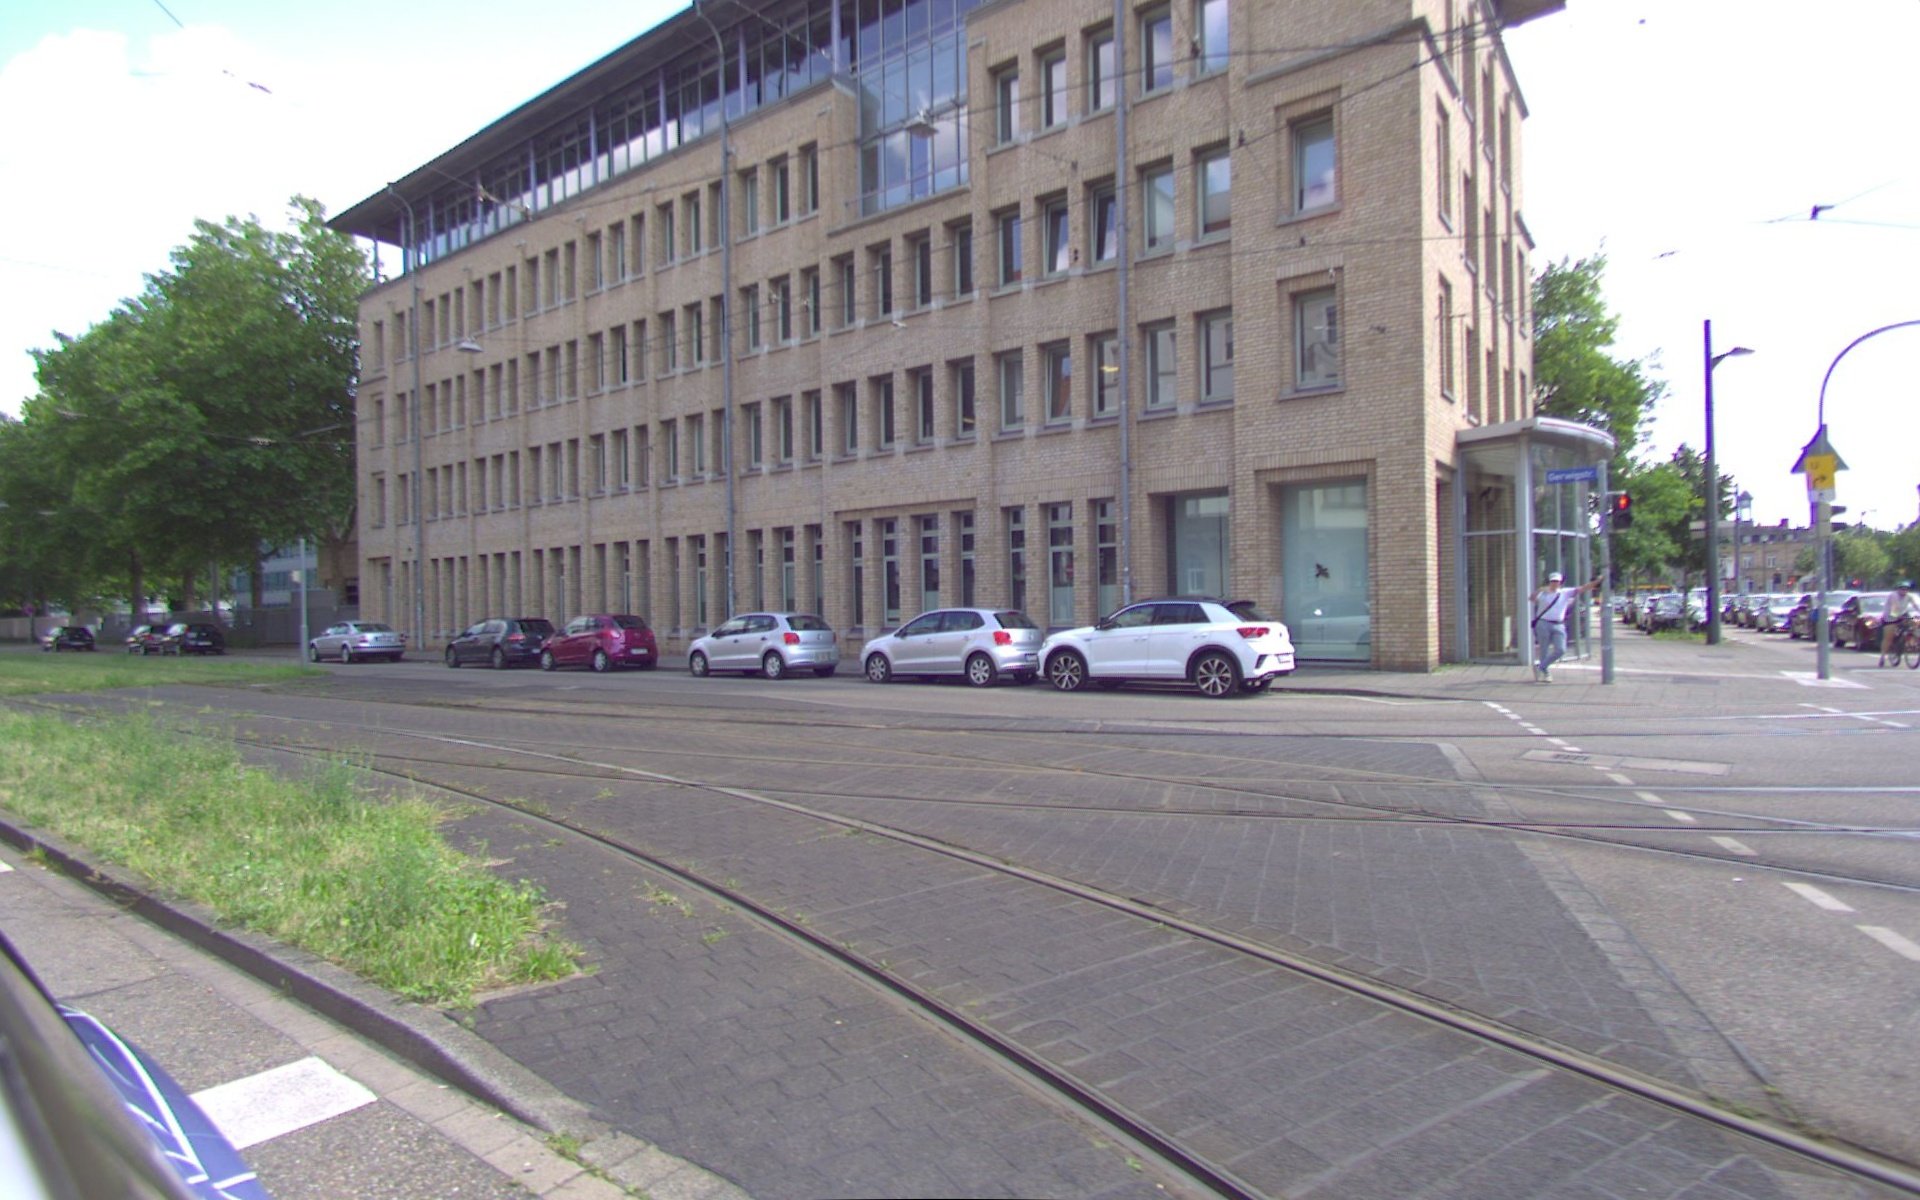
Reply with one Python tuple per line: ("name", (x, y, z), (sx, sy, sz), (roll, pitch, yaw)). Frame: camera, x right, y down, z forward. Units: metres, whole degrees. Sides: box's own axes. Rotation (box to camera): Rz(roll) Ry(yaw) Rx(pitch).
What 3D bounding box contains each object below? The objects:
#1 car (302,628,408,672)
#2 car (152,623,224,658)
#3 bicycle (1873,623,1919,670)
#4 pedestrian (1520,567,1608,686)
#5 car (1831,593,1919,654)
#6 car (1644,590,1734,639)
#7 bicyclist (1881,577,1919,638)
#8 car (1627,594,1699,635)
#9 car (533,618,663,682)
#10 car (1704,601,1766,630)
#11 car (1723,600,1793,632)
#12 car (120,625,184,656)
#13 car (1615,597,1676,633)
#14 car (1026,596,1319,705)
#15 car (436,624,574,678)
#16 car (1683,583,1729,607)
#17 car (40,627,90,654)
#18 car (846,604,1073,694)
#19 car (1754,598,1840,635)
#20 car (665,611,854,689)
("car", (-21.028, 1.698, 35.110), (4.479, 1.407, 1.699), (-2, -1, 39))
("car", (-34.929, 1.830, 45.780), (3.997, 1.464, 1.784), (-2, -1, 40))
("bicycle", (18.552, 0.886, 19.644), (0.714, 0.833, 2.128), (-1, -1, 28))
("pedestrian", (9.470, 0.418, 15.900), (0.950, 1.809, 0.759), (-1, -1, 12))
("car", (23.336, 0.538, 24.957), (1.881, 1.386, 3.963), (-1, -1, 27))
("car", (25.228, 0.489, 35.157), (1.881, 1.585, 3.963), (-1, -1, 27))
("bicyclist", (18.542, 0.142, 19.624), (0.772, 1.156, 0.889), (-2, -1, 28))
("car", (29.120, 0.589, 42.048), (1.881, 1.585, 3.963), (-1, -1, 27))
("car", (-9.456, 1.275, 26.355), (3.545, 1.542, 1.567), (-2, -1, 39))
("car", (37.238, 0.743, 48.714), (1.820, 1.298, 3.959), (-2, -1, 30))
("car", (34.498, 0.665, 43.861), (1.820, 1.298, 3.959), (-2, -1, 30))
("car", (-39.248, 1.963, 49.142), (3.896, 1.436, 1.540), (-2, -1, 38))
("car", (32.465, 0.693, 48.022), (1.882, 1.585, 3.963), (-1, -1, 27))
("car", (3.354, 0.784, 16.412), (4.252, 1.546, 1.914), (-2, -2, 39))
("car", (-13.115, 1.436, 29.081), (4.234, 1.407, 1.914), (-2, -1, 39))
("car", (50.339, -0.338, 68.329), (1.992, 1.564, 3.959), (-2, -1, 30))
("car", (-51.870, 2.358, 58.626), (3.996, 1.475, 1.582), (-2, -1, 39))
("car", (-0.074, 0.888, 19.280), (4.009, 1.542, 1.914), (-2, -1, 39))
("car", (31.260, 0.581, 37.923), (1.820, 1.298, 3.959), (-2, -1, 30))
("car", (-4.498, 1.070, 22.454), (4.205, 1.542, 1.833), (-2, -1, 39))
